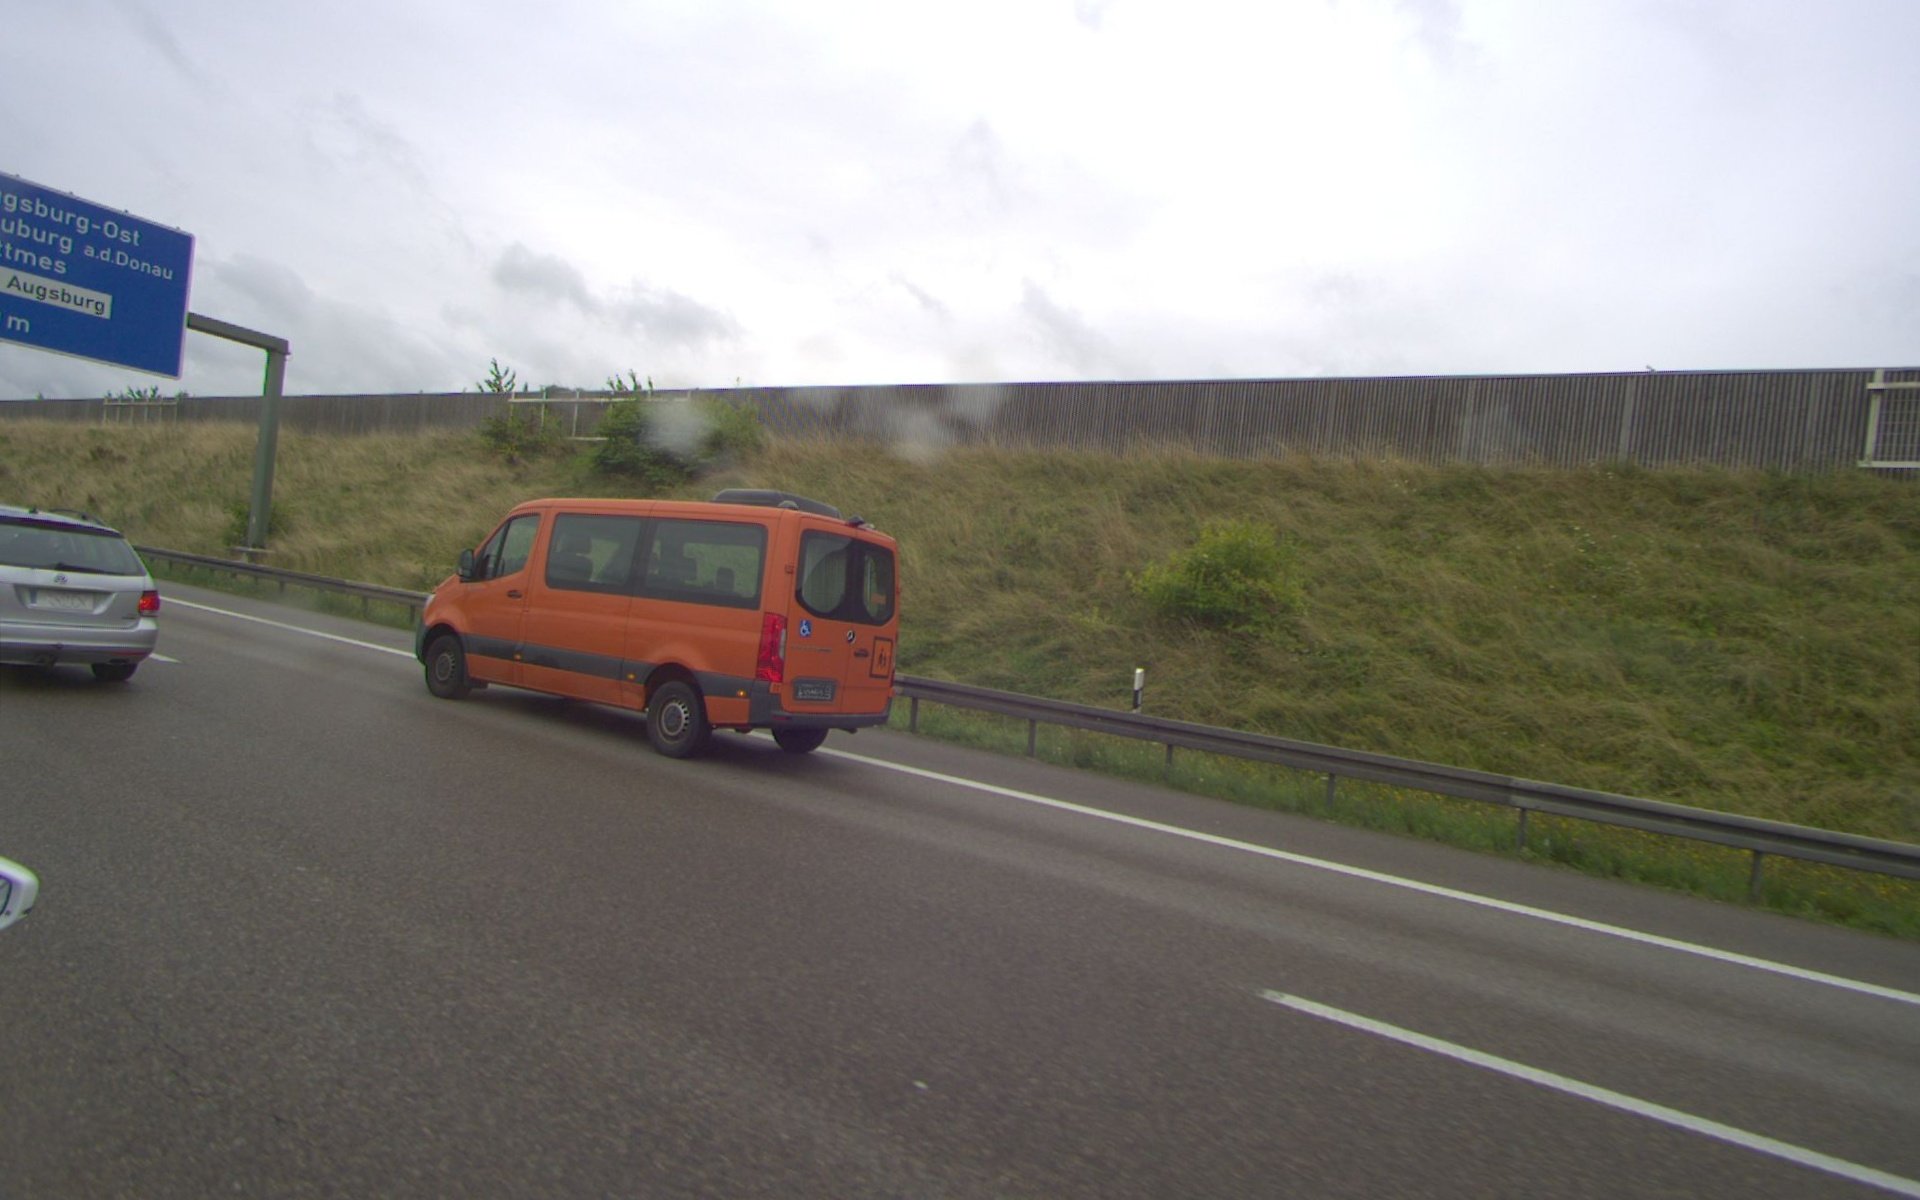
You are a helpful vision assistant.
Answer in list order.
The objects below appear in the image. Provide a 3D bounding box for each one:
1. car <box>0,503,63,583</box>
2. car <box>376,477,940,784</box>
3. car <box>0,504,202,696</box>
[{"bbox_3d":[-19.809,-1.302,20.075,3.811,1.417,1.706,6,-2,31],"label":"car"},{"bbox_3d":[-3.448,0.152,10.854,6.078,2.343,2.089,7,-1,31],"label":"car"},{"bbox_3d":[-9.001,-0.169,9.151,4.441,1.442,1.744,7,0,31],"label":"car"}]
